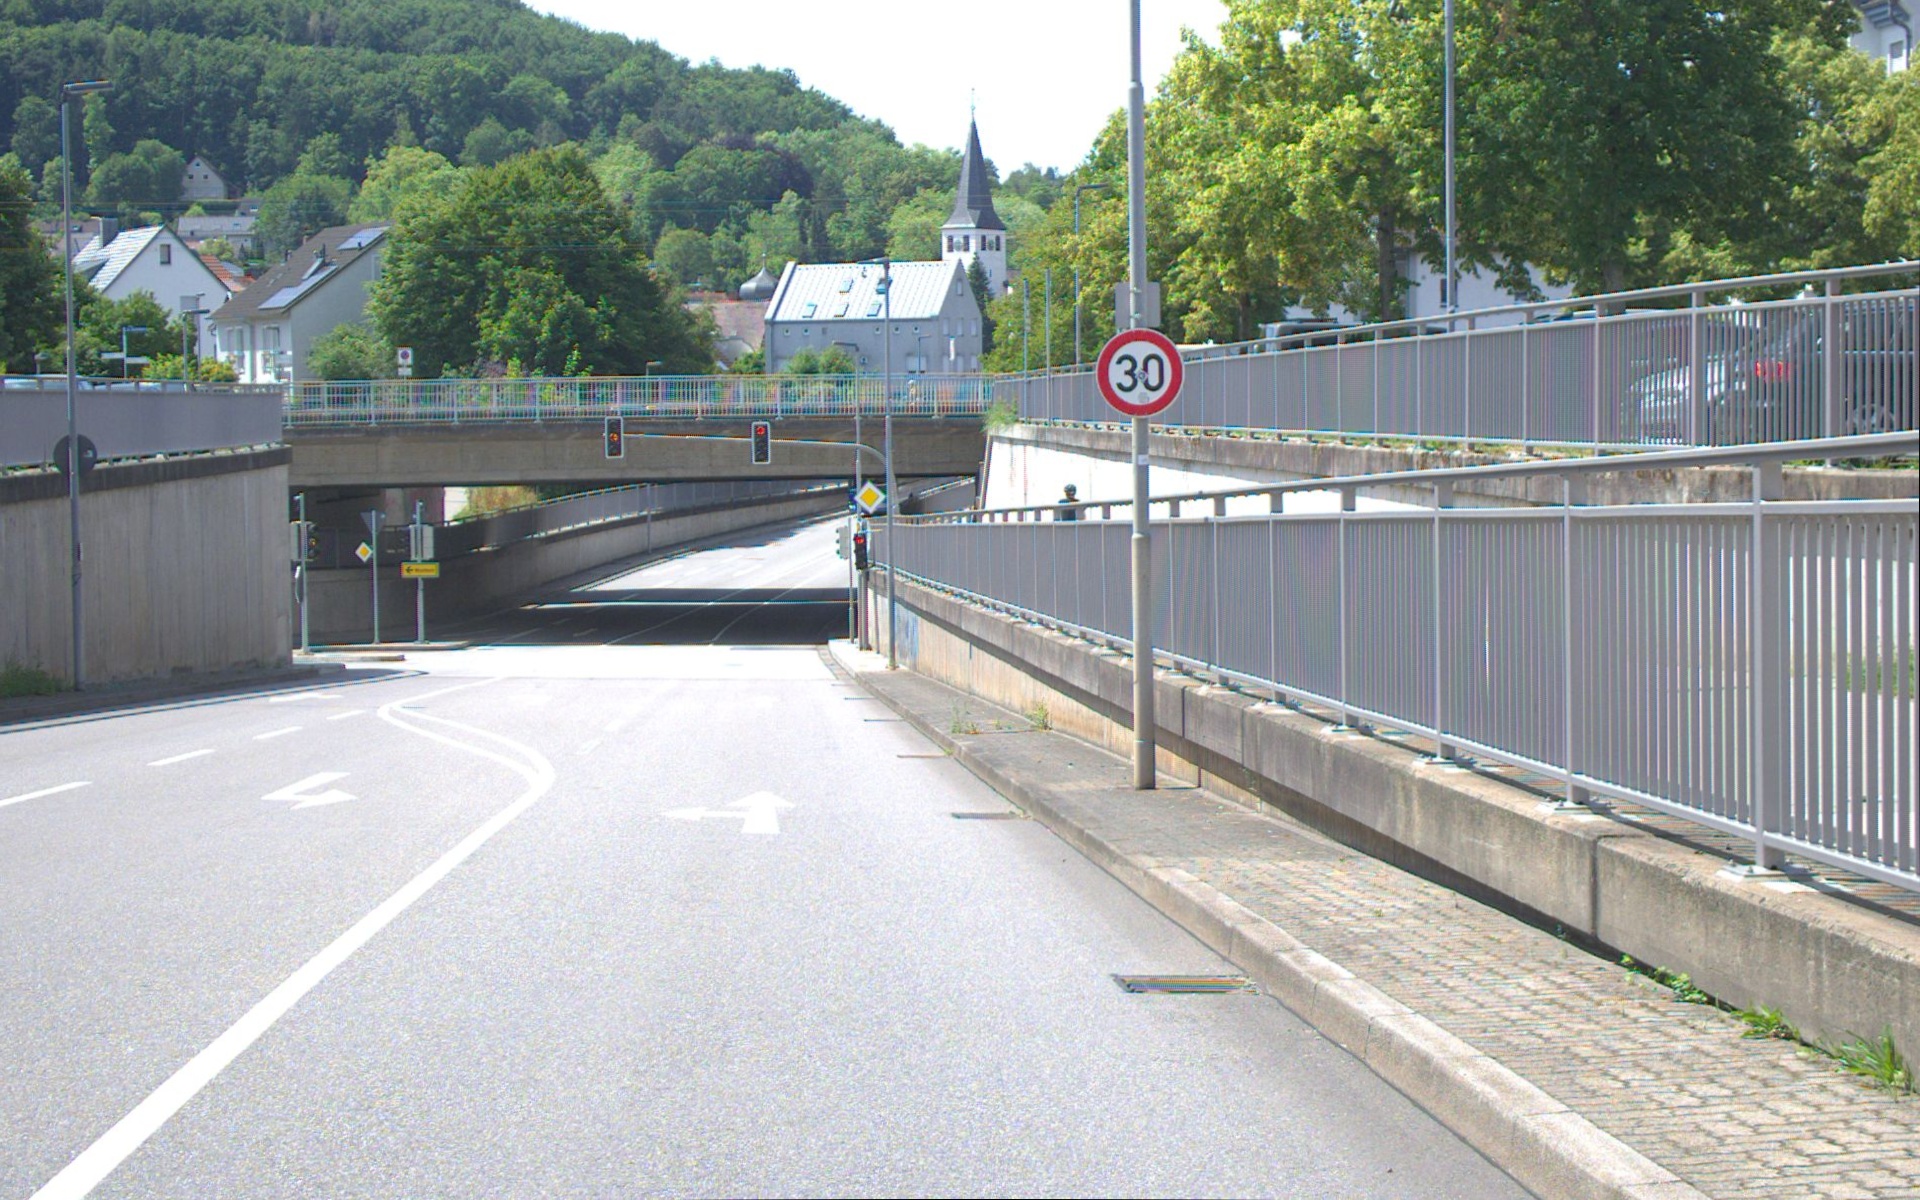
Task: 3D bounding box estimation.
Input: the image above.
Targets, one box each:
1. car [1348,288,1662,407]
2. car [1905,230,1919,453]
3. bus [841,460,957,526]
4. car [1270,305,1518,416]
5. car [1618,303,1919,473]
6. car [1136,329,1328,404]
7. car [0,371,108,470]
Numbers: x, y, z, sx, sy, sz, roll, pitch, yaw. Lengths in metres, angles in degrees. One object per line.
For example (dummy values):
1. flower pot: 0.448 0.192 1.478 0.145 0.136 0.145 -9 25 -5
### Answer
1. car: 7.379 -3.421 46.805 3.987 1.481 1.770 0 0 0
2. car: 9.122 -1.867 24.858 3.986 1.624 1.864 1 0 -12
3. bus: -2.967 -5.440 172.812 2.583 3.161 12.369 1 3 15
4. car: 7.346 -4.058 58.465 3.987 1.764 1.770 0 0 0
5. car: 7.871 -1.825 29.760 3.987 1.423 1.725 0 3 0
6. car: 5.839 -5.015 74.031 3.987 1.481 1.770 0 0 0
7. car: -14.880 -2.842 54.912 1.798 1.519 4.394 0 2 -5
